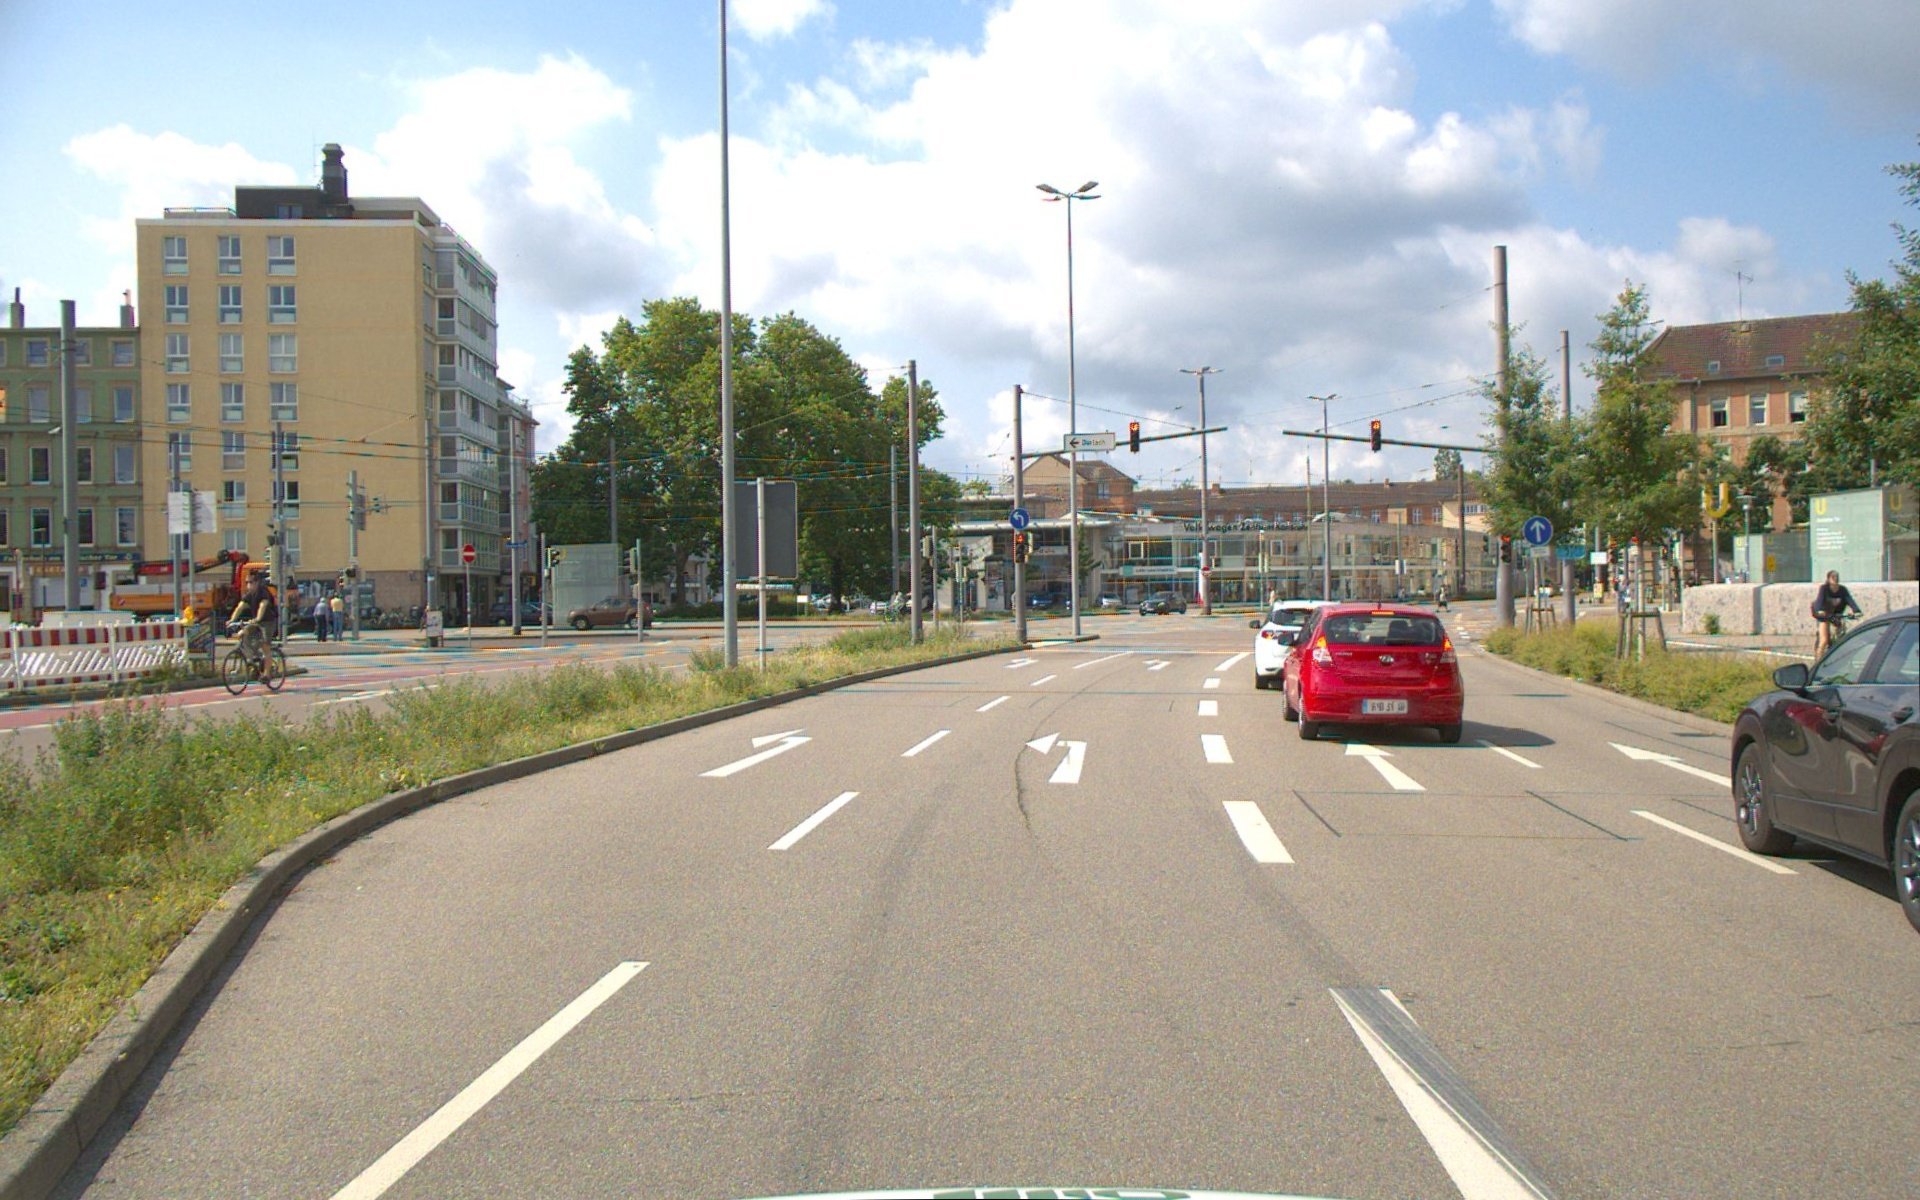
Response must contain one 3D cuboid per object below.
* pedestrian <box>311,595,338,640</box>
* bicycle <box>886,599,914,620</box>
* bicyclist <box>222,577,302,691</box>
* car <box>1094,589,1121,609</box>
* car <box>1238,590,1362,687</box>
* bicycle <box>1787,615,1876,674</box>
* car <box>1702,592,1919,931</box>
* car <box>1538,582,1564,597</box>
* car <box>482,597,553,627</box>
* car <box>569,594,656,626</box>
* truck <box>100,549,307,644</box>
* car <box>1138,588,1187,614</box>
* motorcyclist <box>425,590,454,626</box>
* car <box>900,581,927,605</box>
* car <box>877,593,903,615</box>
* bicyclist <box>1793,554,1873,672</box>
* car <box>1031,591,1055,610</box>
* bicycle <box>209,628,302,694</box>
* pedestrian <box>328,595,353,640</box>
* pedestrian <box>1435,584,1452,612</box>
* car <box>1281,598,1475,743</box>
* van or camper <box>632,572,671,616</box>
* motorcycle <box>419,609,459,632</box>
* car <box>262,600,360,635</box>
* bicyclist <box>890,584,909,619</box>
[{"bbox_3d":[-26.883,0.750,69.981,0.684,1.892,0.820,-1,0,10],"label":"pedestrian"},{"bbox_3d":[-3.289,0.507,90.389,1.438,1.136,0.586,-1,0,-11],"label":"bicycle"},{"bbox_3d":[-11.660,0.560,27.649,0.793,1.854,1.159,-1,0,2],"label":"bicyclist"},{"bbox_3d":[12.684,-0.080,142.198,1.953,1.624,4.000,-1,0,-1],"label":"car"},{"bbox_3d":[5.755,0.608,28.423,1.808,1.498,4.339,-1,0,8],"label":"car"},{"bbox_3d":[13.339,0.667,25.369,0.611,0.825,1.790,-2,0,8],"label":"bicycle"},{"bbox_3d":[5.405,0.738,8.597,1.767,1.534,4.208,0,0,9],"label":"car"},{"bbox_3d":[61.696,-1.117,172.650,1.956,1.467,3.993,-1,0,29],"label":"car"},{"bbox_3d":[-26.711,0.710,99.998,3.914,1.691,1.996,-1,0,-10],"label":"car"},{"bbox_3d":[-17.184,0.482,81.861,3.988,1.534,1.812,-1,0,-5],"label":"car"},{"bbox_3d":[-32.636,-0.173,71.580,7.766,3.923,2.196,-1,0,-9],"label":"truck"},{"bbox_3d":[12.722,0.039,103.769,1.954,1.557,3.998,-1,0,24],"label":"car"},{"bbox_3d":[-26.664,0.391,84.683,0.868,1.813,1.243,-1,0,15],"label":"motorcyclist"},{"bbox_3d":[-4.055,-0.619,145.179,1.951,2.049,4.002,-1,0,5],"label":"car"},{"bbox_3d":[-6.176,0.342,145.881,1.760,1.800,4.002,-1,0,5],"label":"car"},{"bbox_3d":[13.323,0.195,25.268,0.720,1.732,0.966,-3,0,8],"label":"bicyclist"},{"bbox_3d":[7.150,0.019,142.102,1.952,1.579,4.080,-1,0,4],"label":"car"},{"bbox_3d":[-11.685,0.994,27.486,0.603,1.019,2.019,-1,0,2],"label":"bicycle"},{"bbox_3d":[-26.153,0.738,69.855,0.636,1.901,0.782,-1,0,11],"label":"pedestrian"},{"bbox_3d":[27.888,-0.117,95.405,0.666,1.562,0.668,-1,0,-29],"label":"pedestrian"},{"bbox_3d":[4.731,0.725,19.225,1.777,1.464,4.071,0,0,8],"label":"car"},{"bbox_3d":[-21.465,-0.418,114.959,2.536,2.959,6.081,-1,0,-12],"label":"van or camper"},{"bbox_3d":[-26.637,1.060,84.640,0.764,1.134,2.437,-1,0,15],"label":"motorcycle"},{"bbox_3d":[-31.505,0.848,80.348,3.988,1.534,1.812,2,0,-5],"label":"car"},{"bbox_3d":[-3.312,0.097,90.355,0.870,1.903,0.762,-1,0,-11],"label":"bicyclist"}]
